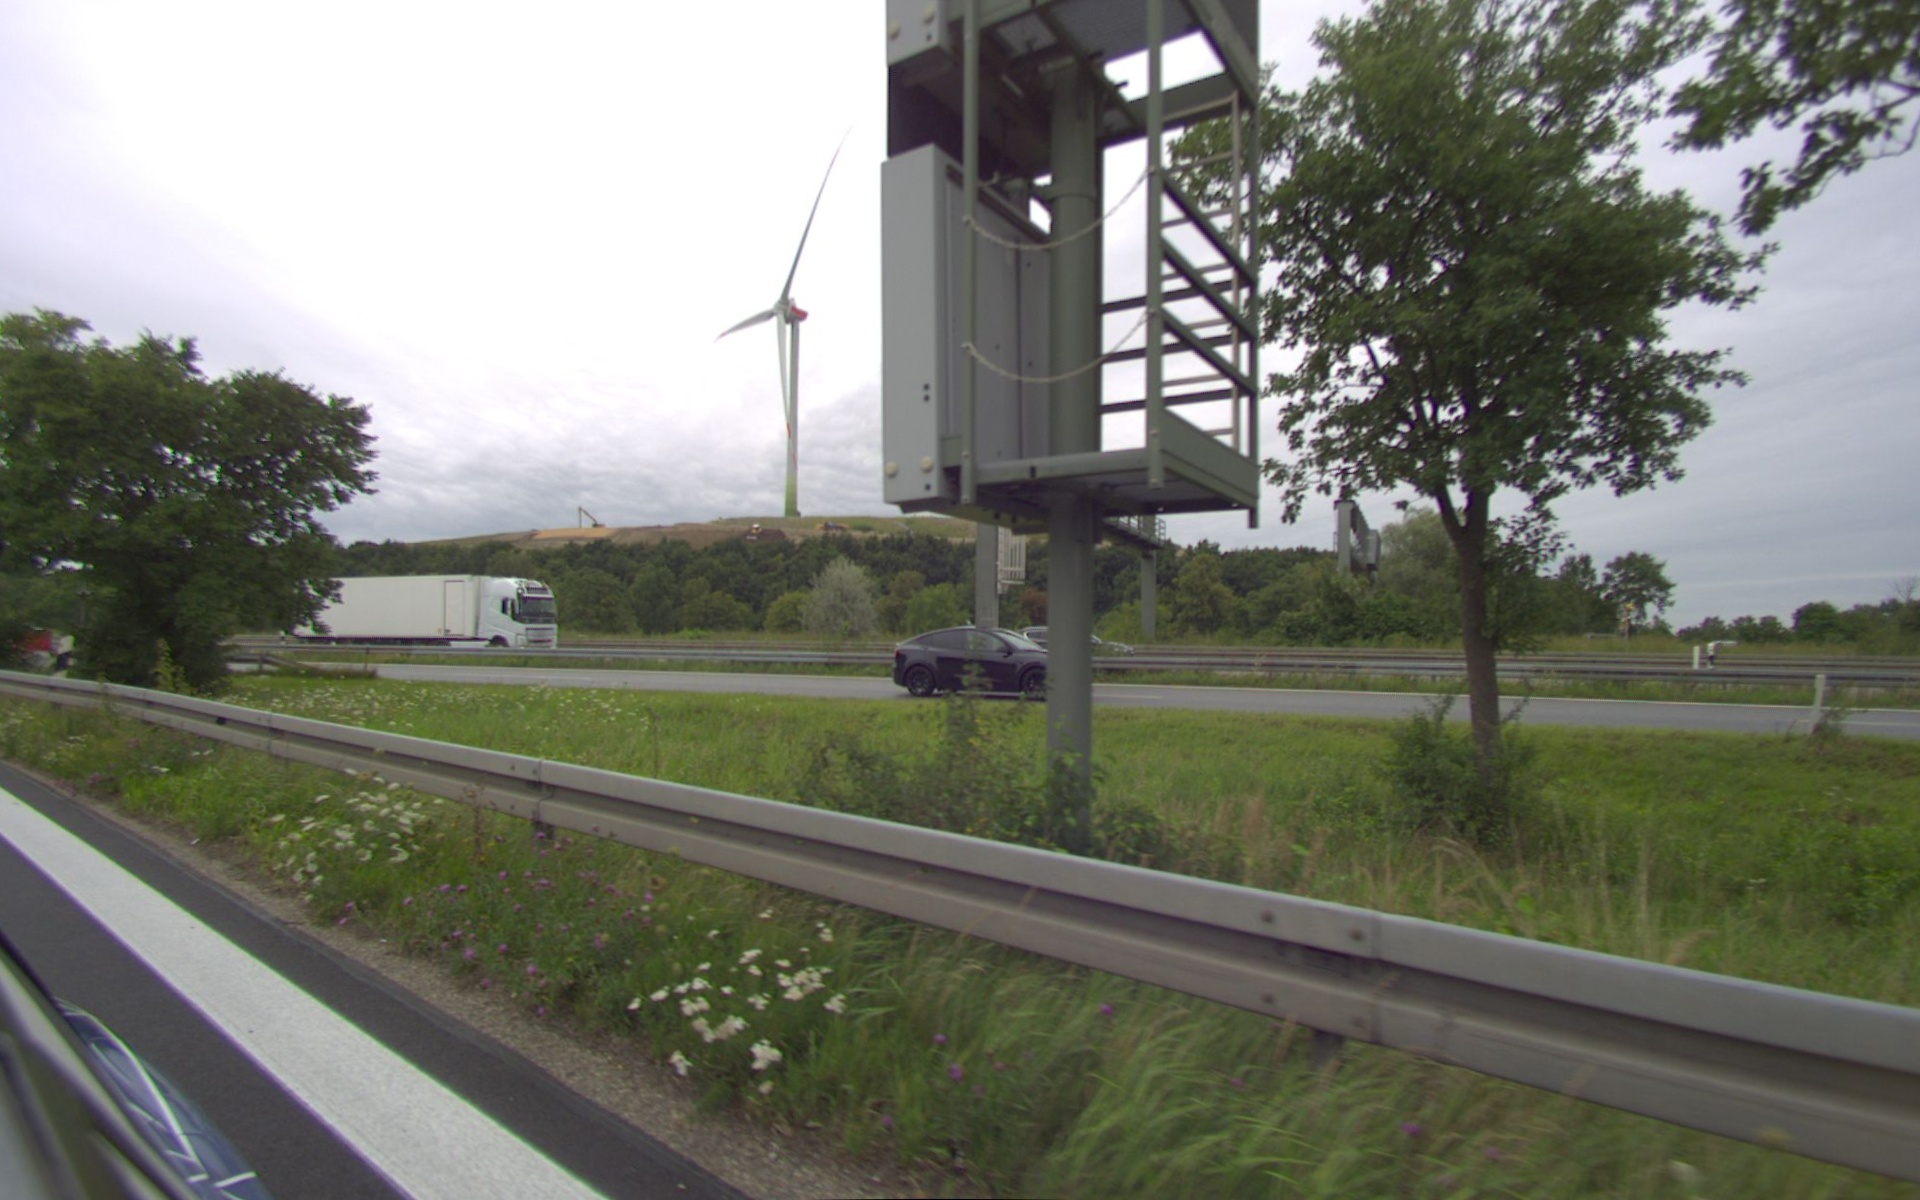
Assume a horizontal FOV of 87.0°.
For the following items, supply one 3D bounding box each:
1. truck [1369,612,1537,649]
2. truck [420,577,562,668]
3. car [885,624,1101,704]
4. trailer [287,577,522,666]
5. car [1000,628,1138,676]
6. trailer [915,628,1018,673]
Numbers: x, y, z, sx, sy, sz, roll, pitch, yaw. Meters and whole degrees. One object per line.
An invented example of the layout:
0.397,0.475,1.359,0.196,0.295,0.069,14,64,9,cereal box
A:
28.865,1.747,59.582,8.769,2.029,1.982,0,-1,27,truck
-22.732,1.114,49.054,6.406,4.167,2.753,-1,-2,24,truck
0.745,1.385,23.044,4.527,1.650,1.951,0,-1,25,car
-28.565,1.142,51.687,13.866,4.167,2.752,-1,-2,24,trailer
4.046,1.895,37.578,4.778,1.638,1.873,0,-1,24,car
0.267,1.913,39.291,3.589,1.638,1.873,0,-1,24,trailer
